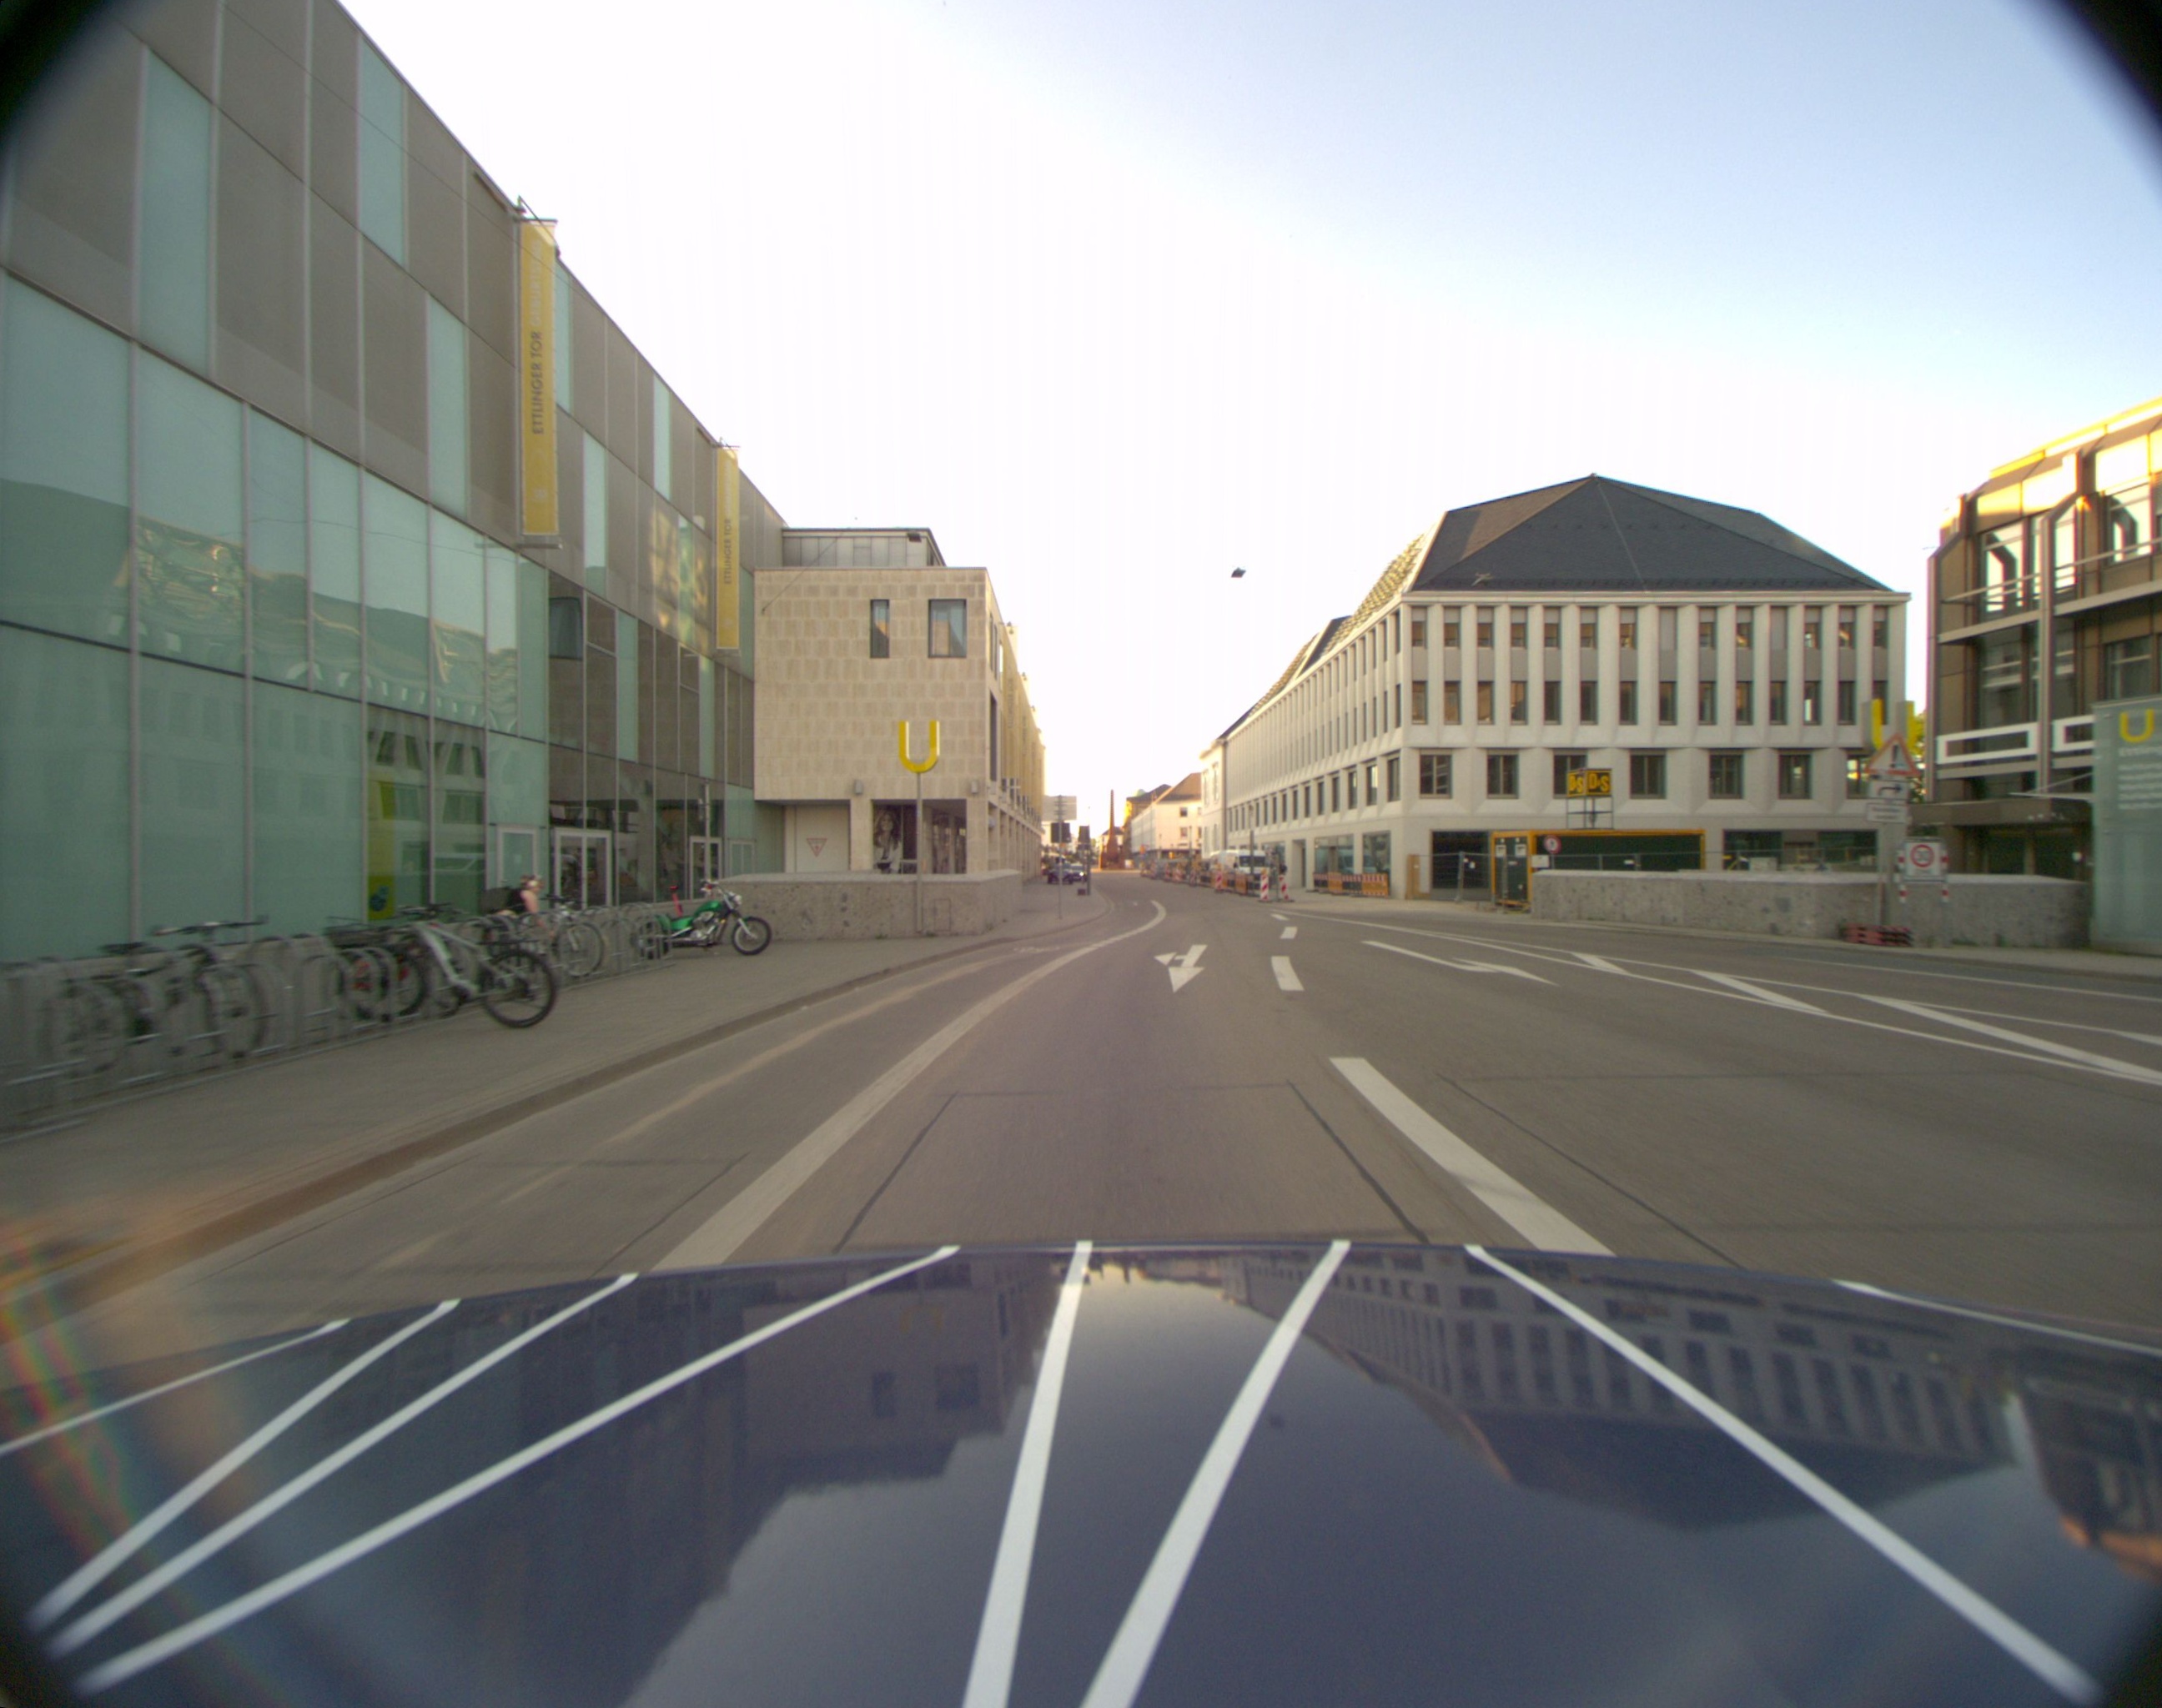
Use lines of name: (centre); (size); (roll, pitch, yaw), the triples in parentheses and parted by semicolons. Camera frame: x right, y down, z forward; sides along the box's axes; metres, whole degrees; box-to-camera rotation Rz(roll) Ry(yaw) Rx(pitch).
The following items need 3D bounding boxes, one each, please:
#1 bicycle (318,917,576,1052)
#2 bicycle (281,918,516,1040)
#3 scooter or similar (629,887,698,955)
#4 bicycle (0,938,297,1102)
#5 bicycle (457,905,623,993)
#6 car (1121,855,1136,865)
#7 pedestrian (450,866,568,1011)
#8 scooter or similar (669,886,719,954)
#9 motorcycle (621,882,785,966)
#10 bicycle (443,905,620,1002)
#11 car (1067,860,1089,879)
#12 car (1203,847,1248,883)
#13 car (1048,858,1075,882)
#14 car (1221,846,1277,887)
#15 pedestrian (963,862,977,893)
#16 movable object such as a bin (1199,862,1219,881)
bicycle: (-5.817, 1.173, 7.011); (1.992, 1.123, 0.571); (0, 0, 5)
bicycle: (-7.055, 1.286, 7.893); (1.992, 1.123, 0.556); (-2, 0, 5)
scooter or similar: (-8.161, 1.290, 14.864); (1.119, 1.250, 0.398); (-1, 0, -38)
bicycle: (-7.110, 1.236, 5.799); (1.769, 1.123, 0.516); (0, 0, 3)
bicycle: (-7.420, 1.290, 10.451); (1.992, 1.123, 0.516); (0, 0, 5)
car: (8.700, 1.140, 138.855); (2.022, 1.815, 4.457); (0, 0, -7)
pedestrian: (-7.168, 1.016, 9.555); (0.837, 1.725, 0.820); (0, 0, 7)
scooter or similar: (-7.550, 1.275, 14.838); (0.398, 1.250, 0.870); (-1, 0, 11)
motorcycle: (-6.370, 1.158, 12.918); (2.304, 1.325, 0.907); (0, 0, -3)
bicycle: (-7.117, 1.267, 9.863); (1.992, 1.172, 0.516); (0, 0, 5)
car: (-0.253, 1.291, 64.841); (1.800, 1.481, 4.192); (3, 0, 0)
car: (10.483, 0.765, 55.604); (2.179, 2.456, 5.998); (0, 0, 0)
car: (-1.420, 1.148, 56.585); (1.773, 1.628, 4.057); (3, 0, 0)
car: (10.545, 0.759, 48.151); (2.179, 2.456, 5.998); (0, 0, -1)
pedestrian: (-5.677, 1.206, 38.824); (0.635, 1.558, 0.775); (0, -1, -1)
movable object such as a bin: (10.054, 1.378, 59.718); (1.047, 1.457, 1.392); (-1, 0, -12)
